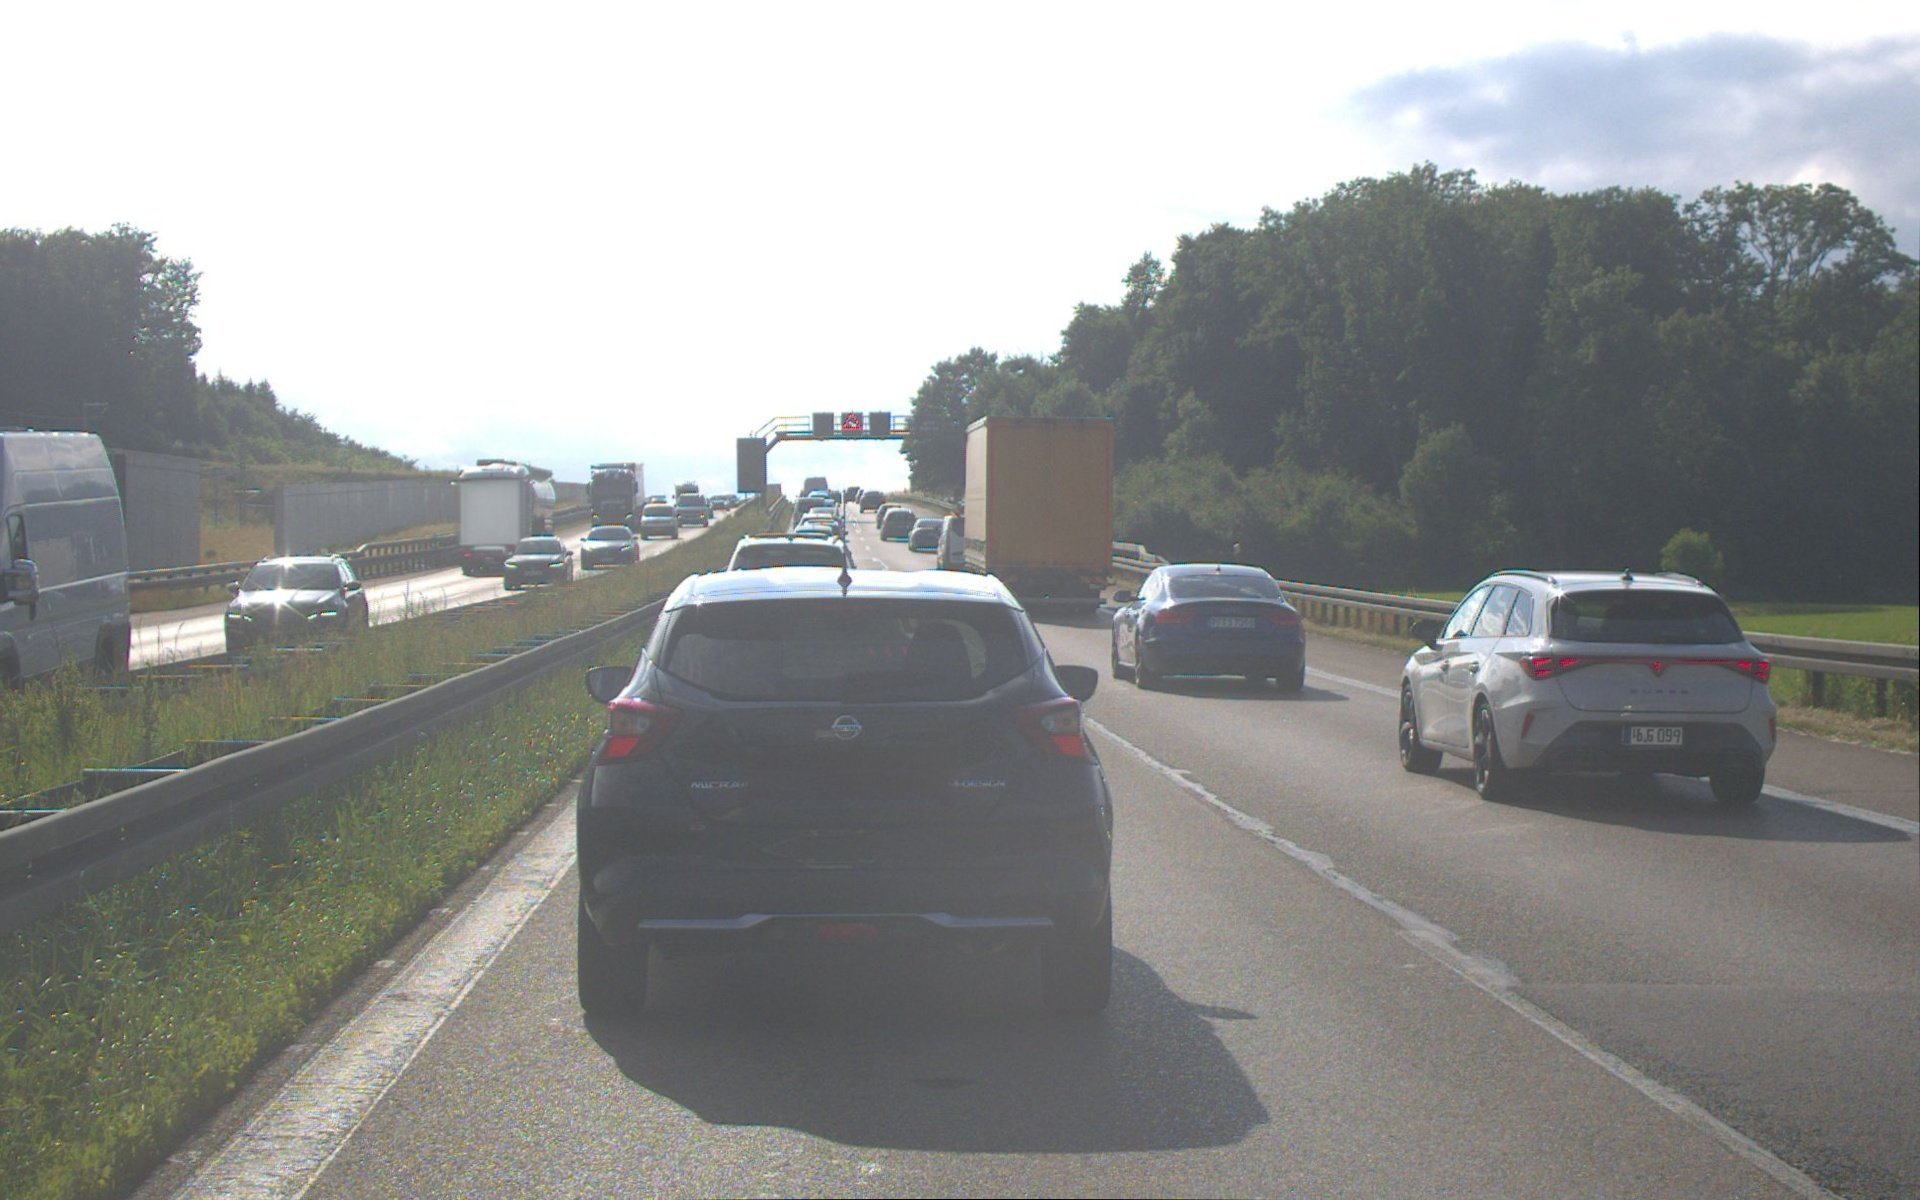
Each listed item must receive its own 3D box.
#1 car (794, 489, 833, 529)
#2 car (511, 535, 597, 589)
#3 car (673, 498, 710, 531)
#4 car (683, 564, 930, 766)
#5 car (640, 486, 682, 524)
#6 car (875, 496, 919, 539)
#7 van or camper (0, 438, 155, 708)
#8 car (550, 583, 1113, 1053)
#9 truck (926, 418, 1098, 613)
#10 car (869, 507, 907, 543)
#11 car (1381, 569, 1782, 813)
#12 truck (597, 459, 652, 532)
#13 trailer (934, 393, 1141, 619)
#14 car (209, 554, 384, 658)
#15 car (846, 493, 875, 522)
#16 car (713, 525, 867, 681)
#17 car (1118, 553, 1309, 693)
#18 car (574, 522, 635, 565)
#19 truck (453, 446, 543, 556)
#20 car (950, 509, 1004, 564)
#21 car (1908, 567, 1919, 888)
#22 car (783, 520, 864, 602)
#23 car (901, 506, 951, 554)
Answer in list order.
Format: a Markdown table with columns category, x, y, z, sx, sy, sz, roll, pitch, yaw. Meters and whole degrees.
| category | x | y | z | sx | sy | sz | roll | pitch | yaw |
| --- | --- | --- | --- | --- | --- | --- | --- | --- | --- |
| car | -7.817 | -4.840 | 183.396 | 1.993 | 2.007 | 4.000 | 1 | 0 | -3 |
| car | -11.639 | -1.086 | 98.771 | 1.993 | 1.481 | 4.398 | 1 | 0 | -1 |
| car | -16.476 | -5.238 | 211.139 | 1.993 | 1.877 | 4.787 | -2 | 0 | -2 |
| car | -1.090 | 0.433 | 25.345 | 1.674 | 1.362 | 3.596 | 1 | 0 | -1 |
| car | -15.429 | -4.906 | 177.673 | 1.860 | 1.827 | 4.281 | 1 | 0 | -2 |
| car | -3.098 | -4.044 | 168.642 | 1.993 | 2.007 | 4.000 | 1 | 0 | -3 |
| van or camper | -8.939 | -0.252 | 30.494 | 2.166 | 2.198 | 6.258 | 1 | 0 | -1 |
| car | -0.413 | 0.662 | 12.242 | 1.710 | 1.421 | 3.378 | 1 | 0 | -1 |
| truck | 1.151 | -1.939 | 81.369 | 3.581 | 4.365 | 6.689 | 1 | 0 | -3 |
| car | -4.143 | -4.290 | 196.736 | 1.993 | 2.007 | 4.000 | 1 | 0 | -3 |
| car | 3.956 | 0.530 | 22.530 | 1.620 | 1.441 | 4.147 | 1 | 0 | -4 |
| truck | -19.678 | -6.108 | 201.811 | 2.754 | 4.076 | 6.954 | 0 | 0 | -2 |
| trailer | 1.491 | -1.918 | 74.639 | 3.548 | 4.442 | 12.723 | 1 | 0 | -3 |
| car | -10.088 | 0.069 | 52.582 | 1.843 | 1.503 | 4.551 | 1 | 0 | -1 |
| car | -7.155 | -6.624 | 246.919 | 1.993 | 2.007 | 4.000 | 1 | 0 | -3 |
| car | -1.945 | 0.019 | 40.121 | 1.674 | 1.720 | 3.596 | 1 | 0 | -1 |
| car | 2.800 | 0.231 | 38.784 | 1.747 | 1.470 | 4.147 | 1 | 0 | -1 |
| car | -12.974 | -2.052 | 125.573 | 1.803 | 1.511 | 4.691 | 1 | 0 | -1 |
| truck | -16.564 | -3.526 | 123.531 | 2.552 | 3.785 | 5.417 | -1 | 0 | -2 |
| car | 0.546 | -2.055 | 112.504 | 1.667 | 1.749 | 3.327 | 1 | 0 | -1 |
| car | 5.328 | 0.635 | 14.446 | 1.548 | 1.490 | 3.378 | 1 | 1 | -4 |
| car | -3.513 | -0.994 | 87.777 | 1.993 | 2.007 | 4.000 | 1 | 0 | -3 |
| car | -1.522 | -3.068 | 150.889 | 1.993 | 2.007 | 4.000 | 1 | 0 | -3 |
